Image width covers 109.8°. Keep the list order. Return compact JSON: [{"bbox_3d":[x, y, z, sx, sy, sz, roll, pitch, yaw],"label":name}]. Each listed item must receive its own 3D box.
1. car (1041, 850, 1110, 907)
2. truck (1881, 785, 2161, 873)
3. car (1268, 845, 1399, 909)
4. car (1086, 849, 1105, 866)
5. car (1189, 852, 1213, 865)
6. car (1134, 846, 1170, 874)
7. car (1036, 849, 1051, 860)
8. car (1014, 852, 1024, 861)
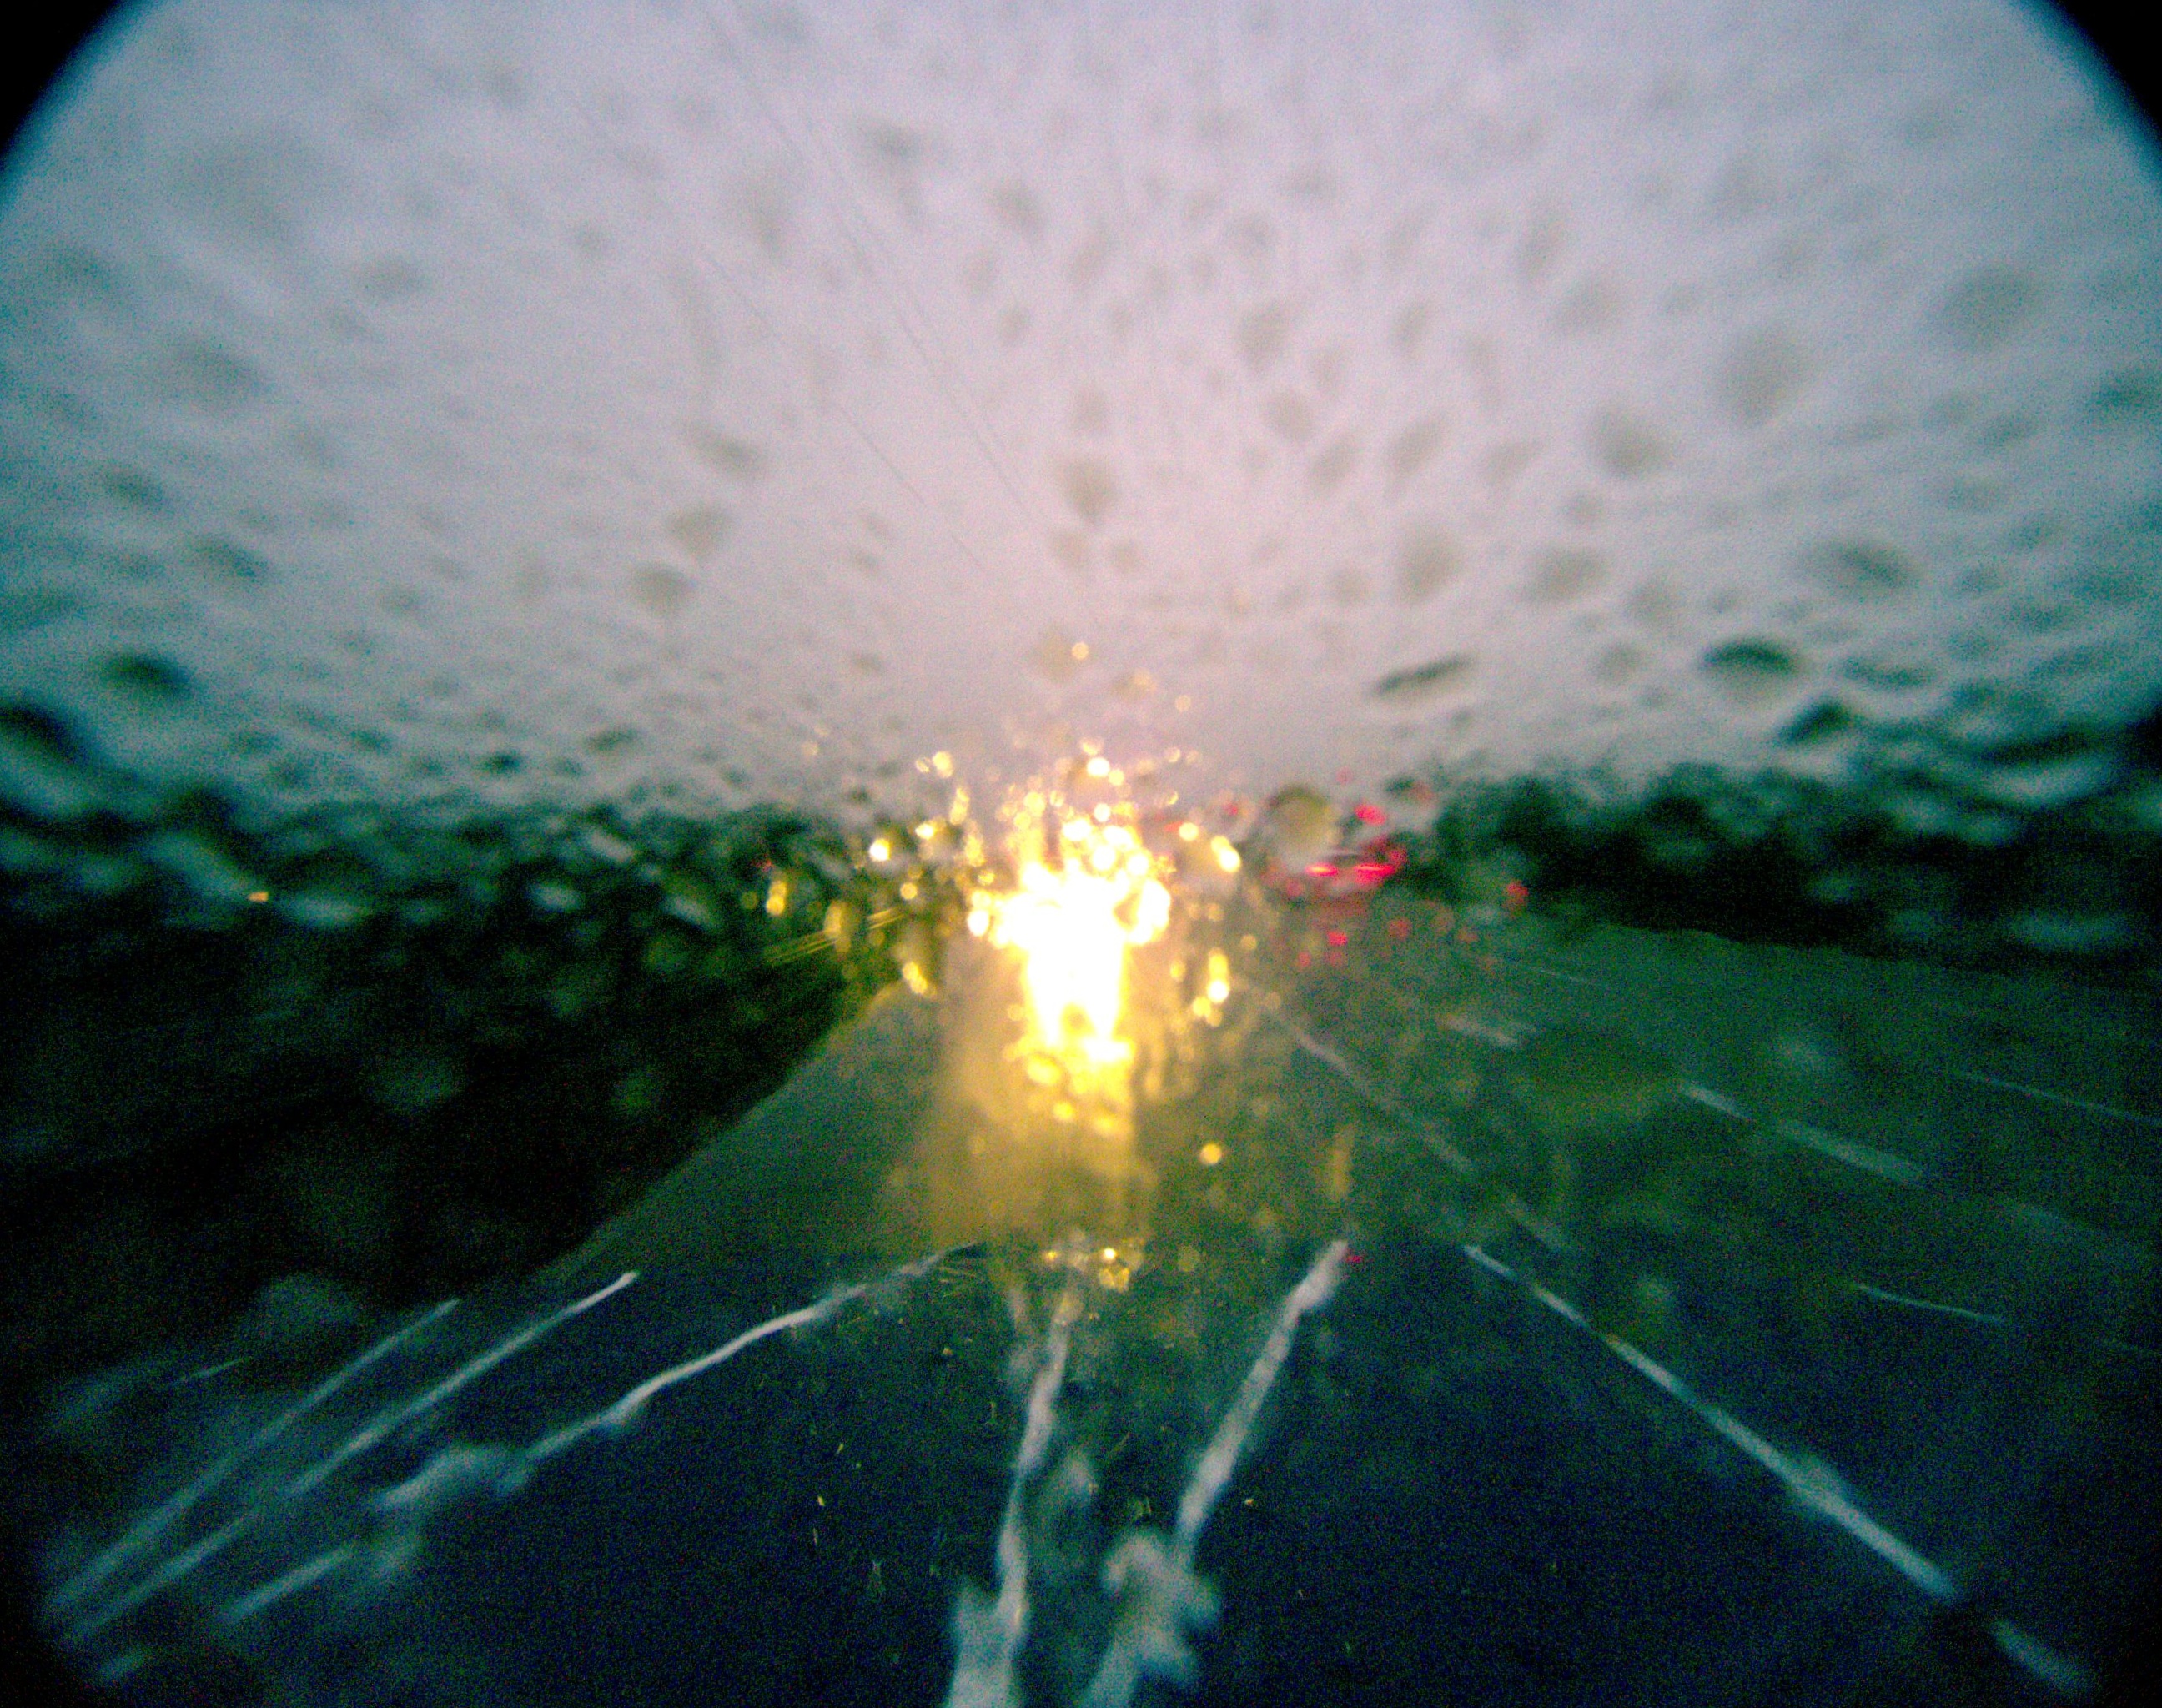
[{"bbox_3d":[-0.149,0.667,22.902,1.886,1.514,3.999,0,1,0],"label":"car"},{"bbox_3d":[56.575,-1.485,46.610,3.280,4.584,13.886,0,2,14],"label":"truck"},{"bbox_3d":[6.739,0.538,20.863,1.999,1.481,4.380,-2,1,-2],"label":"car"},{"bbox_3d":[1.367,0.284,72.438,1.640,1.464,4.448,-1,1,0],"label":"car"},{"bbox_3d":[12.969,0.503,81.879,1.597,1.237,4.006,-3,0,23],"label":"car"},{"bbox_3d":[4.384,0.345,47.282,1.893,1.580,4.382,-2,1,2],"label":"car"},{"bbox_3d":[-5.091,0.040,103.340,1.700,1.409,3.997,-2,1,-8],"label":"car"},{"bbox_3d":[-12.593,0.580,154.282,1.918,1.622,3.860,2,-2,-2],"label":"car"}]
